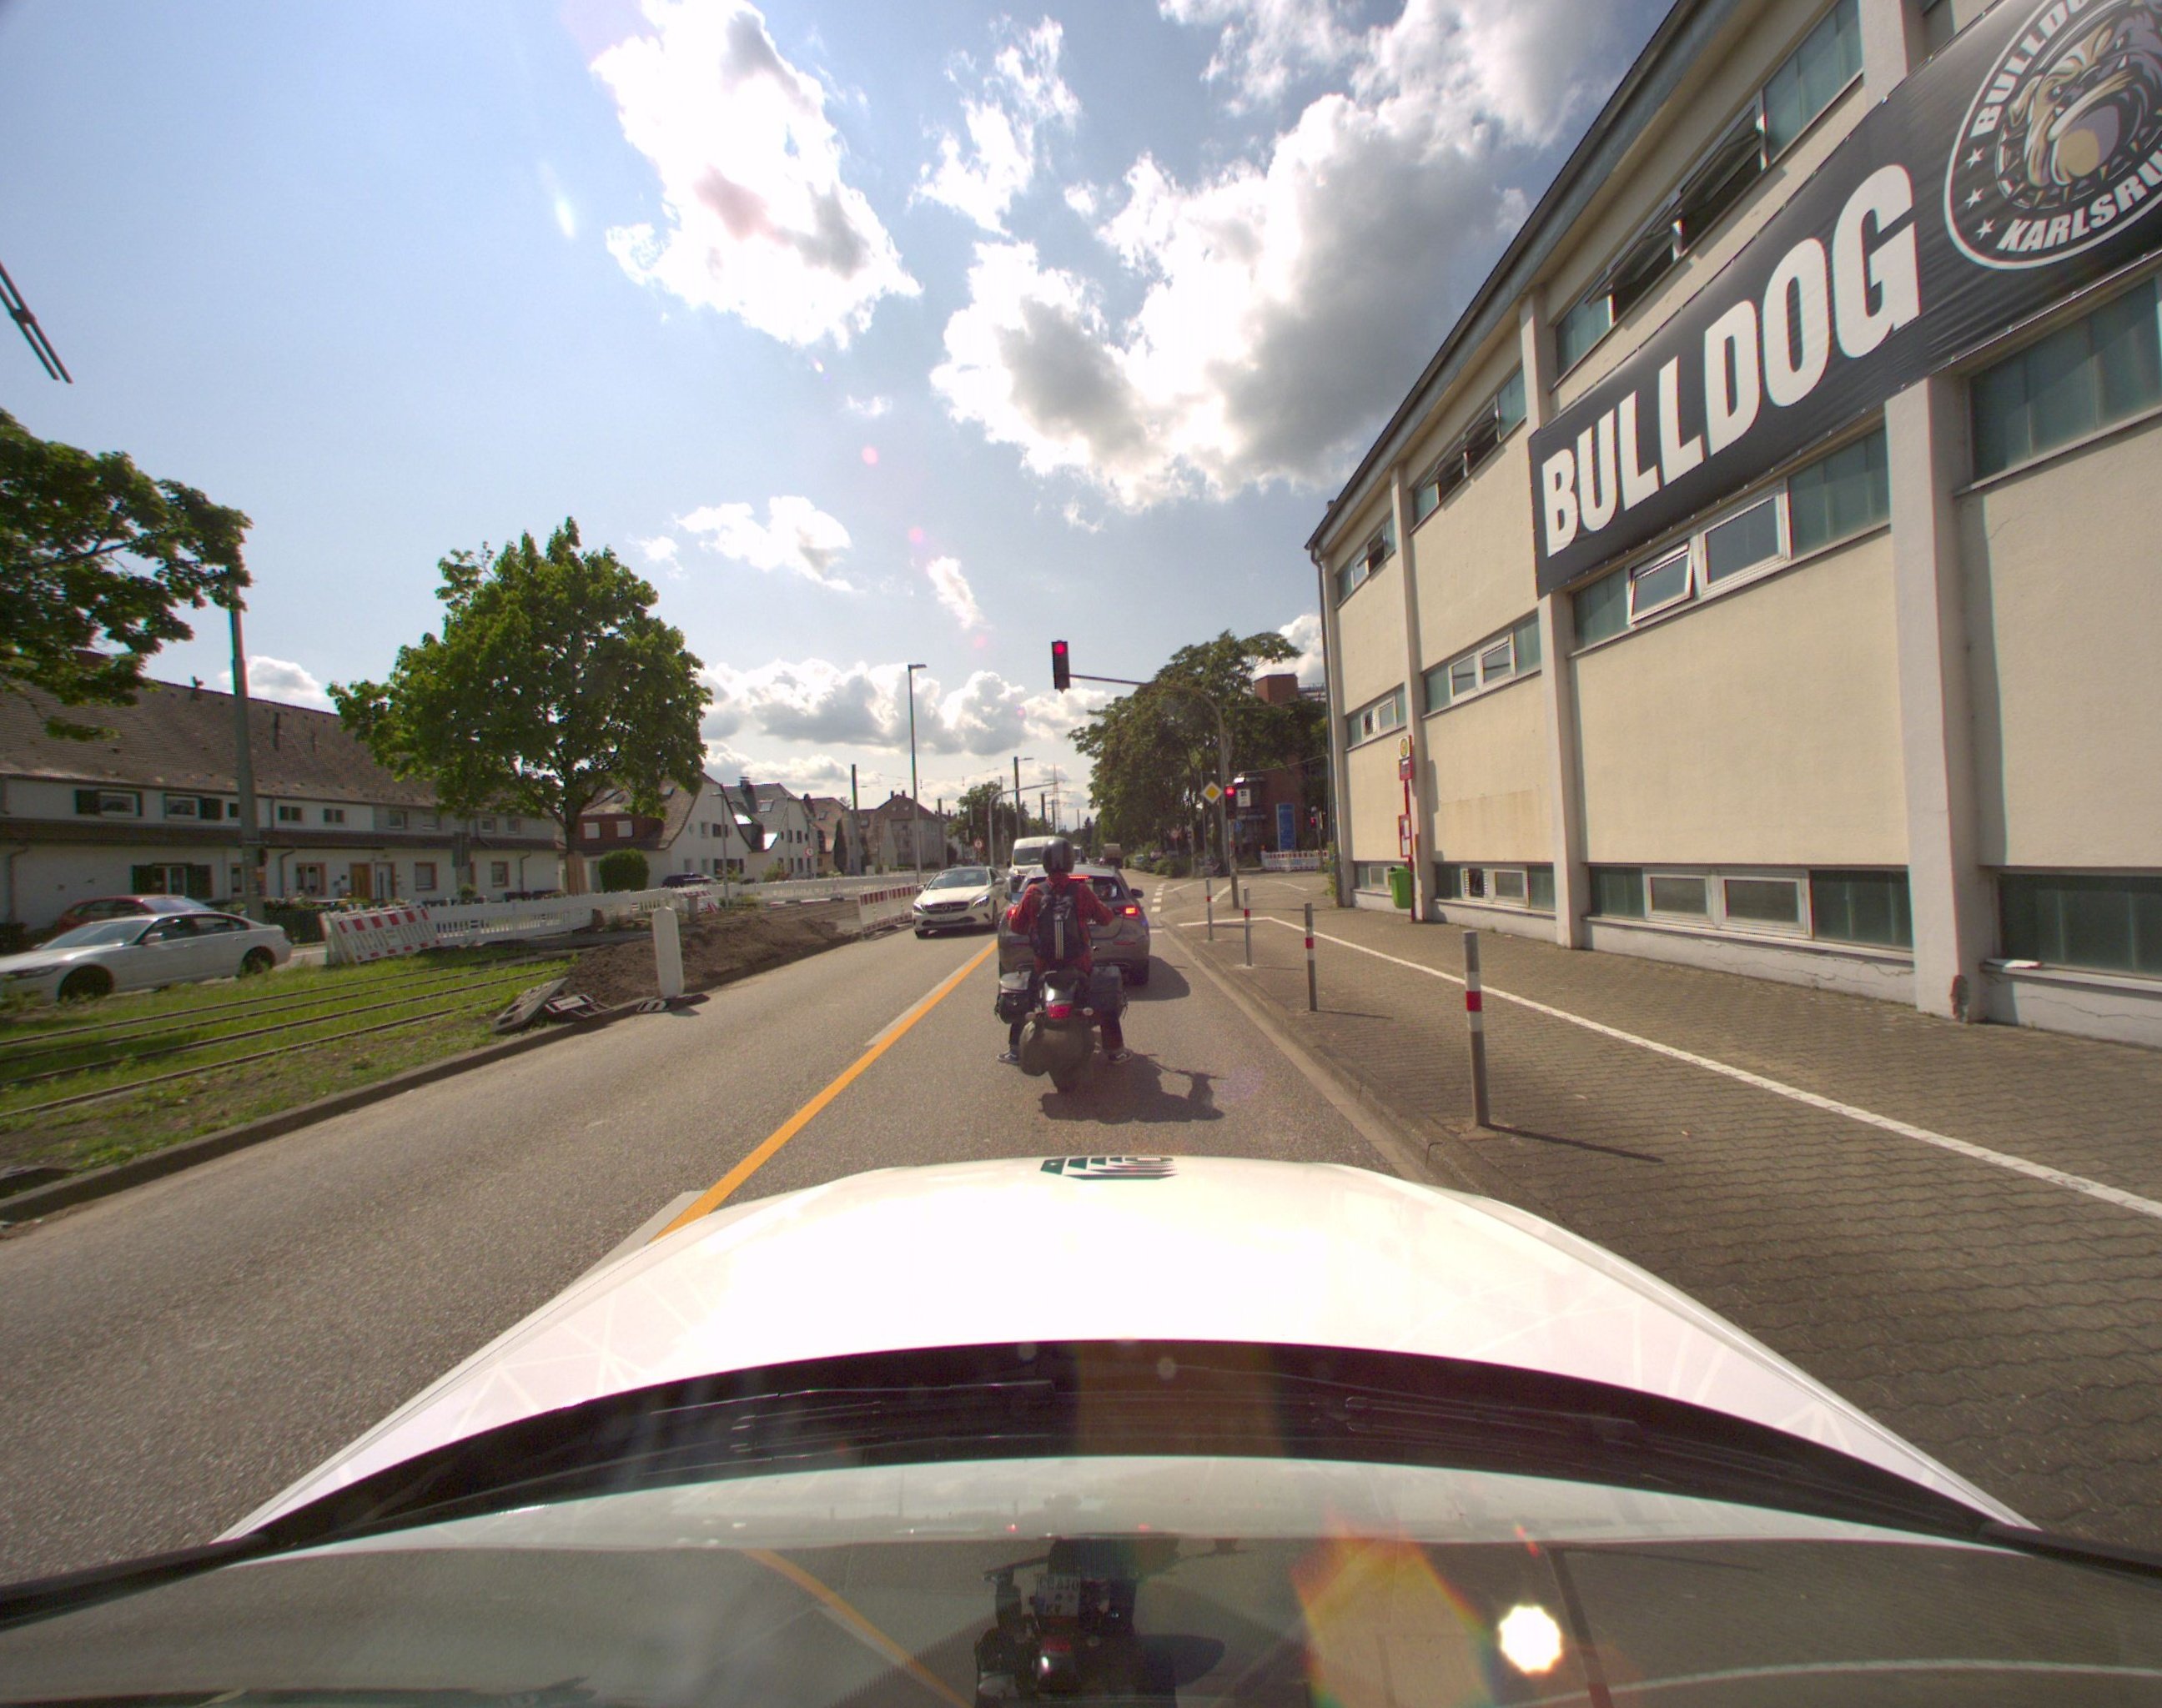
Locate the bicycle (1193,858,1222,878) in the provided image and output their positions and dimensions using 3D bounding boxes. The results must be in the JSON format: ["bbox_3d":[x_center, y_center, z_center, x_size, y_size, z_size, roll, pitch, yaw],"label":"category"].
[{"bbox_3d":[7.752,0.872,49.851,1.699,1.172,0.438,-1,-1,6],"label":"bicycle"}]

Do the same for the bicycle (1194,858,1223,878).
[{"bbox_3d":[7.715,0.841,49.302,1.699,1.172,0.438,-1,-1,6],"label":"bicycle"}]

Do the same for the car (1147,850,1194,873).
[{"bbox_3d":[7.634,0.608,69.516,4.023,1.926,1.781,0,-1,-44],"label":"car"}]

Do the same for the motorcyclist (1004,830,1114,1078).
[{"bbox_3d":[-0.138,0.656,5.667,0.696,1.604,0.692,-1,-1,1],"label":"motorcyclist"}]

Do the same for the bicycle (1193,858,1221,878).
[{"bbox_3d":[7.794,0.879,50.331,1.699,1.172,0.438,-1,-1,6],"label":"bicycle"}]

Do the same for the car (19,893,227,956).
[{"bbox_3d":[-28.225,2.054,24.083,3.974,1.509,1.725,-3,0,-1],"label":"car"}]

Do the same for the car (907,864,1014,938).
[{"bbox_3d":[-2.667,1.012,18.965,1.738,1.437,4.084,-4,-1,1],"label":"car"}]

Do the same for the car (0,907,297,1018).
[{"bbox_3d":[-16.458,1.776,14.253,1.538,1.376,4.245,-3,0,-5],"label":"car"}]

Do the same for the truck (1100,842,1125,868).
[{"bbox_3d":[4.121,0.230,104.652,2.954,3.173,7.771,-1,-1,4],"label":"truck"}]

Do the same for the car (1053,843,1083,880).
[{"bbox_3d":[-0.772,0.451,48.790,1.583,2.143,3.628,-1,-1,2],"label":"car"}]

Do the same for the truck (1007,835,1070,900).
[{"bbox_3d":[-1.735,0.497,35.161,2.085,2.476,5.198,-4,1,2],"label":"truck"}]

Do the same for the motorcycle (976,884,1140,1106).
[{"bbox_3d":[-0.110,0.870,6.003,0.939,1.200,2.473,-1,0,1],"label":"motorcycle"}]

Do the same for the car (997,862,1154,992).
[{"bbox_3d":[-0.170,0.819,11.054,1.728,1.403,4.081,-1,0,-3],"label":"car"}]
